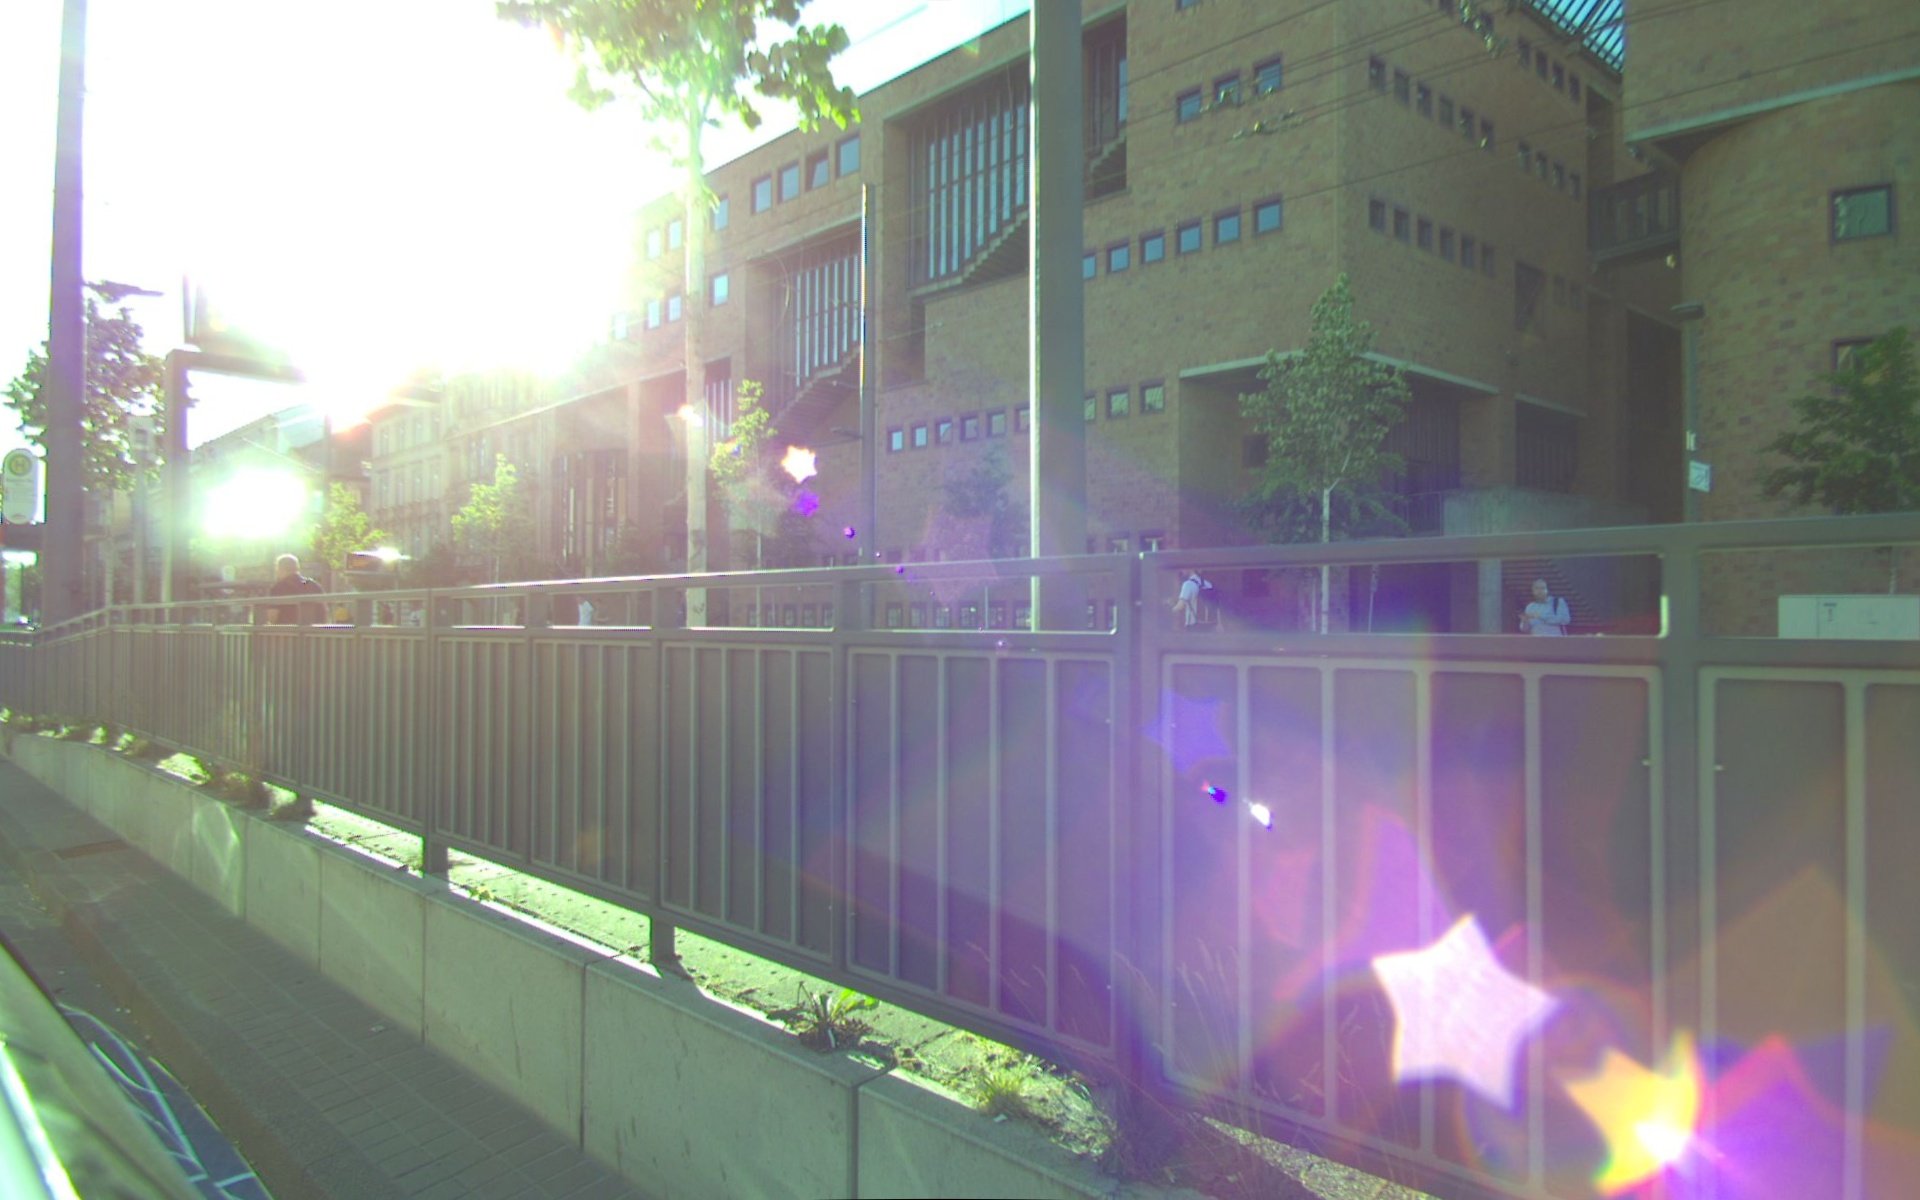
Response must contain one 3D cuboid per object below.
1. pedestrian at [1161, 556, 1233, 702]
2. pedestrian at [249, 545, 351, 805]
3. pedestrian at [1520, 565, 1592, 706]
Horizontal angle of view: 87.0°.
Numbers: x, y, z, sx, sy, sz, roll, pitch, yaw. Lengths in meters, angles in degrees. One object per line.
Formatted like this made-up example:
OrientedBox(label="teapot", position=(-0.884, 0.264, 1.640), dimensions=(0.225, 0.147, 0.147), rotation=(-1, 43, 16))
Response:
OrientedBox(label="pedestrian", position=(3.080, 0.359, 13.140), dimensions=(0.668, 1.821, 0.677), rotation=(-1, 0, 40))
OrientedBox(label="pedestrian", position=(-6.557, 0.707, 10.056), dimensions=(0.625, 2.461, 0.676), rotation=(-1, 0, 38))
OrientedBox(label="pedestrian", position=(7.258, 0.414, 12.319), dimensions=(0.684, 1.647, 0.660), rotation=(-1, 0, 37))
